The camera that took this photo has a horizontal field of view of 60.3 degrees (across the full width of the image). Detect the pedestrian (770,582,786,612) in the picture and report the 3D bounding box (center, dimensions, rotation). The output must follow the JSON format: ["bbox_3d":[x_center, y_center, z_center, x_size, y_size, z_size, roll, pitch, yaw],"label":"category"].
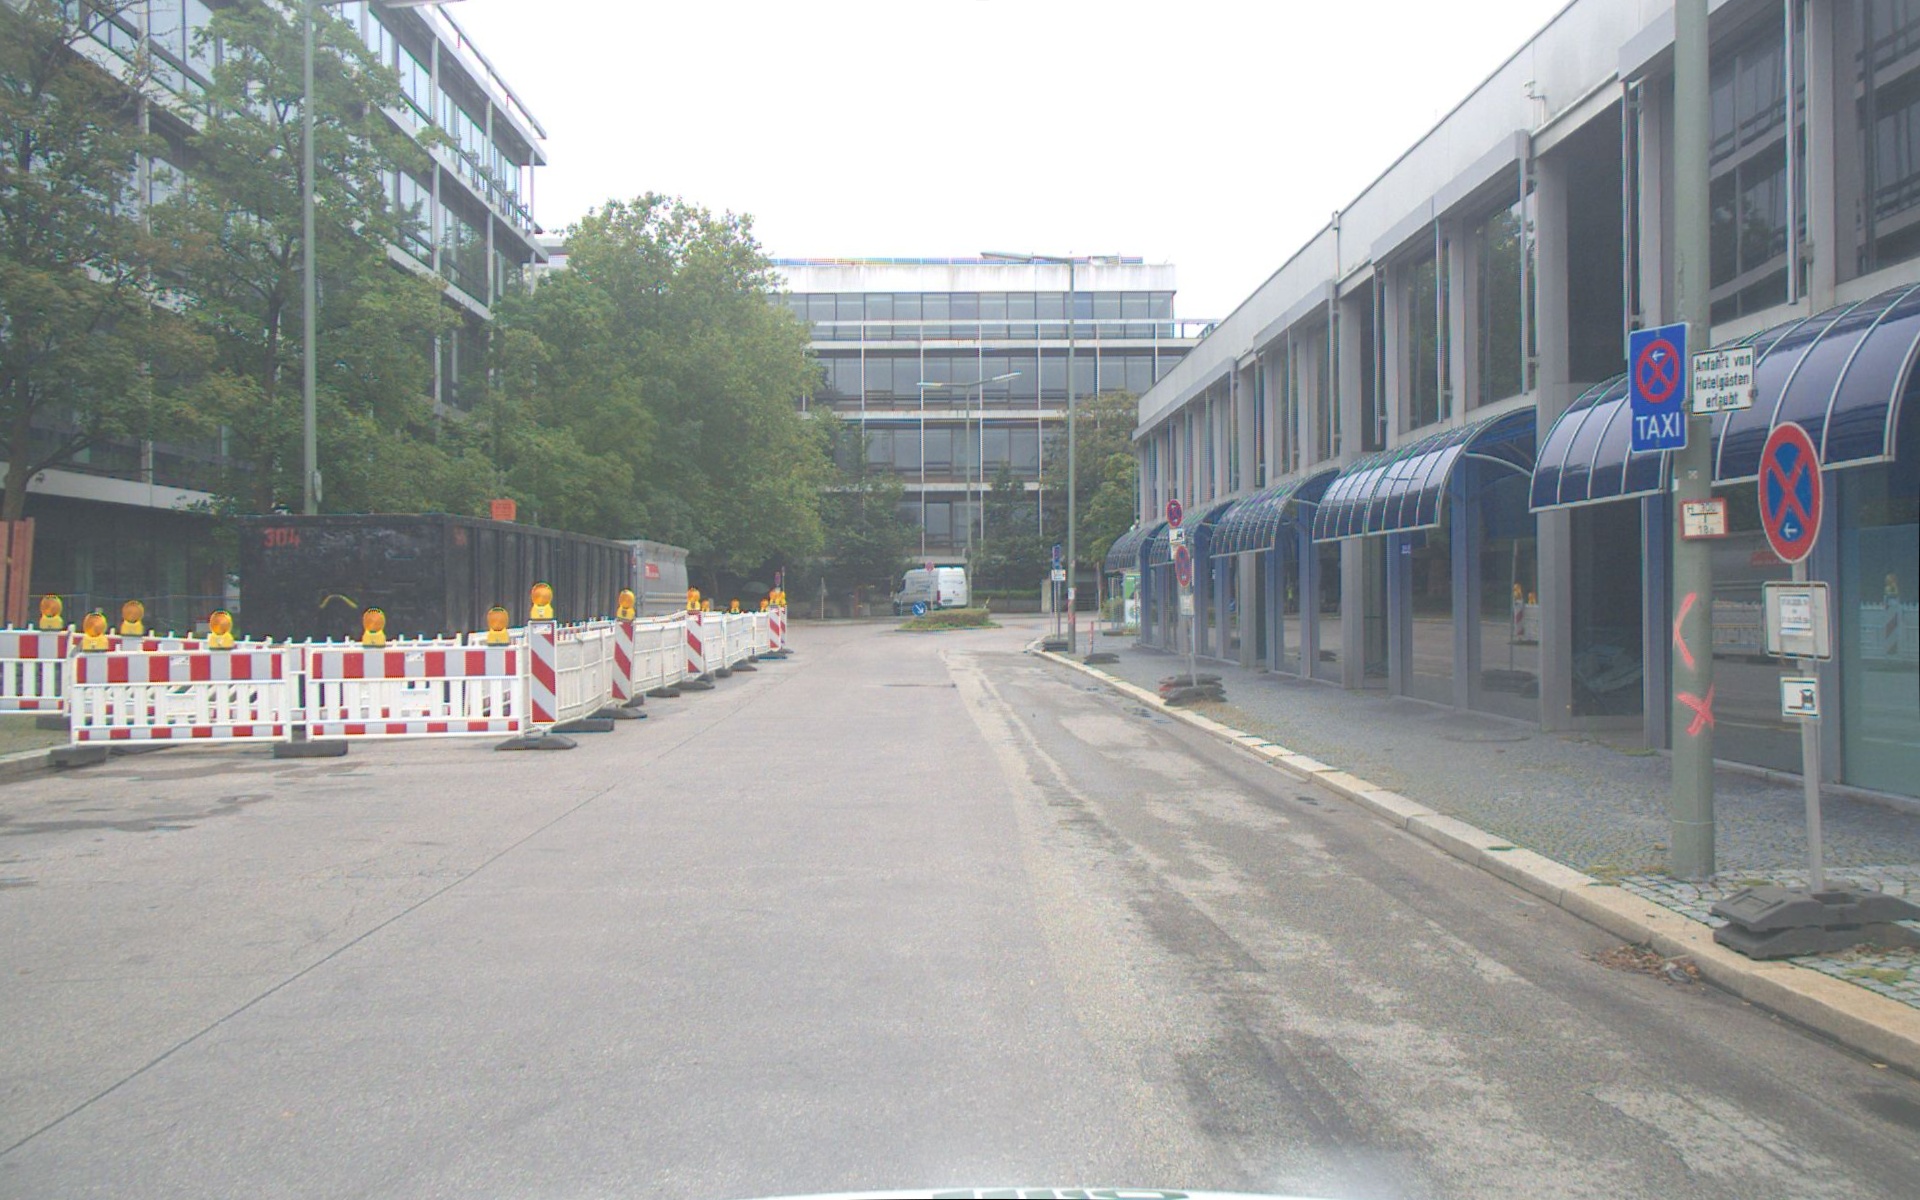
[{"bbox_3d":[-10.264,-0.172,93.109,0.731,1.706,0.678,-1,0,-21],"label":"pedestrian"}]

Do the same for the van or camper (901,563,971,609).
[{"bbox_3d":[-1.405,-0.808,94.584,2.060,2.535,5.024,-1,0,-26],"label":"van or camper"}]
